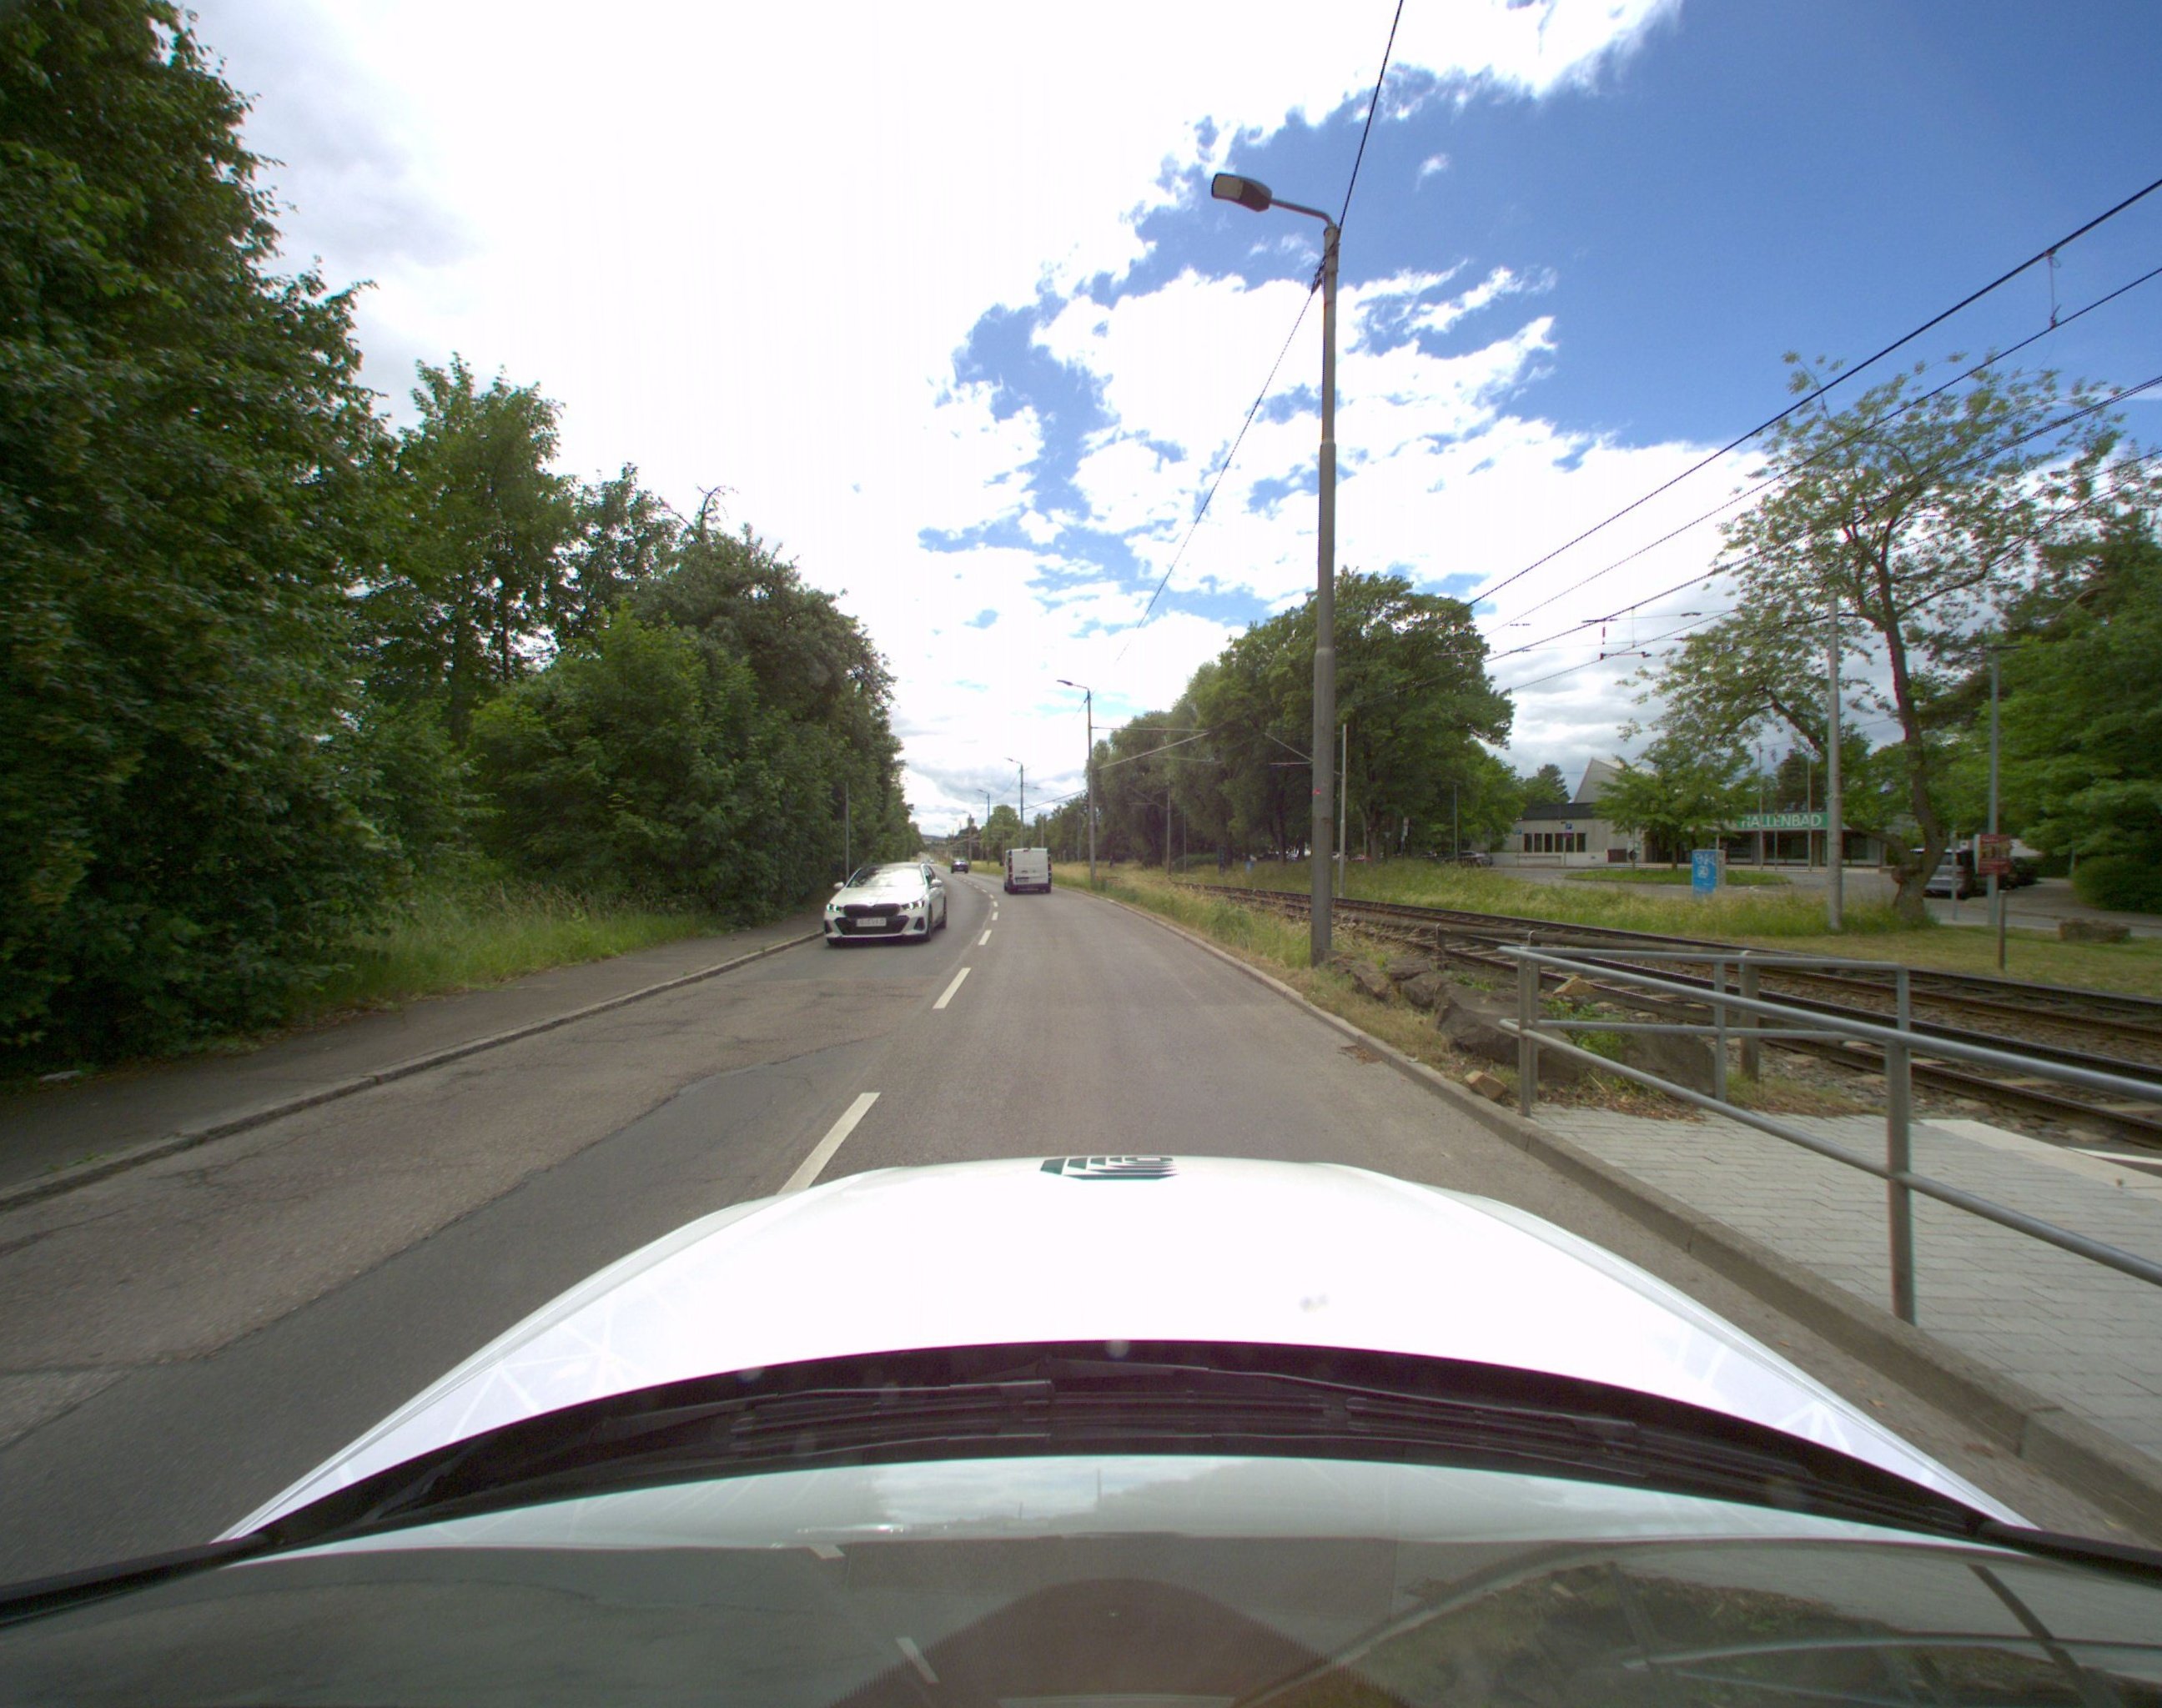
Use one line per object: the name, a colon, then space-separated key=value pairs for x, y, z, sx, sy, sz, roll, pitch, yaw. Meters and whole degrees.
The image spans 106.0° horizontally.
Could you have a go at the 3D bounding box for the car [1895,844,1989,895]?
car: x=34.328 y=0.566 z=32.427 sx=4.733 sy=1.861 sz=1.897 roll=-1 pitch=0 yaw=-35

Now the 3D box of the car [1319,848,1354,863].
car: x=28.594 y=0.178 z=91.193 sx=1.994 sy=1.700 sz=4.213 roll=1 pitch=-1 yaw=-11

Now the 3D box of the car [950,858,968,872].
car: x=-14.593 y=1.256 z=97.167 sx=1.995 sy=1.593 sz=3.984 roll=-1 pitch=0 yaw=-11

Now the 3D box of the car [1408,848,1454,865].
car: x=31.860 y=0.250 z=74.309 sx=1.994 sy=1.443 sz=3.985 roll=0 pitch=0 yaw=-11

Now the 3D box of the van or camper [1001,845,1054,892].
van or camper: x=-2.437 y=0.645 z=36.283 sx=1.941 sy=1.897 sz=4.271 roll=-2 pitch=0 yaw=-9

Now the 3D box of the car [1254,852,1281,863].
car: x=30.767 y=0.616 z=134.668 sx=2.009 sy=1.812 sz=3.956 roll=0 pitch=0 yaw=-37

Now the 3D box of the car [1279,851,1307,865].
car: x=26.500 y=0.462 z=101.913 sx=1.993 sy=1.700 sz=3.987 roll=1 pitch=-1 yaw=-9

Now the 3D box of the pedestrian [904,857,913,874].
pedestrian: x=-19.081 y=1.253 z=90.304 sx=0.869 sy=1.769 sz=0.785 roll=-3 pitch=1 yaw=-15

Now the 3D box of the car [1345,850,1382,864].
car: x=29.637 y=0.339 z=85.585 sx=1.994 sy=1.443 sz=3.985 roll=0 pitch=0 yaw=-11

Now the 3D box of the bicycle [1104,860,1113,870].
bicycle: x=3.375 y=1.356 z=99.640 sx=0.581 sy=1.246 sz=1.919 roll=0 pitch=0 yaw=-15

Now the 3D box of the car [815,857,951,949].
car: x=-3.866 y=0.875 z=16.708 sx=1.927 sy=1.522 sz=4.651 roll=-3 pitch=0 yaw=-5

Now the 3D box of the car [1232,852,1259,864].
car: x=26.570 y=0.668 z=131.720 sx=2.009 sy=1.812 sz=3.956 roll=0 pitch=0 yaw=-37

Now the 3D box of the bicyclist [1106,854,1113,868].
bicyclist: x=3.450 y=0.809 z=99.357 sx=0.581 sy=1.696 sz=0.931 roll=0 pitch=-1 yaw=-15

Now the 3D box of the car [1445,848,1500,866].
car: x=32.995 y=0.258 z=68.739 sx=1.994 sy=1.443 sz=4.329 roll=0 pitch=0 yaw=-11

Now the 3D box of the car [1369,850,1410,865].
car: x=30.532 y=0.327 z=80.648 sx=1.994 sy=1.443 sz=3.985 roll=0 pitch=0 yaw=-11
